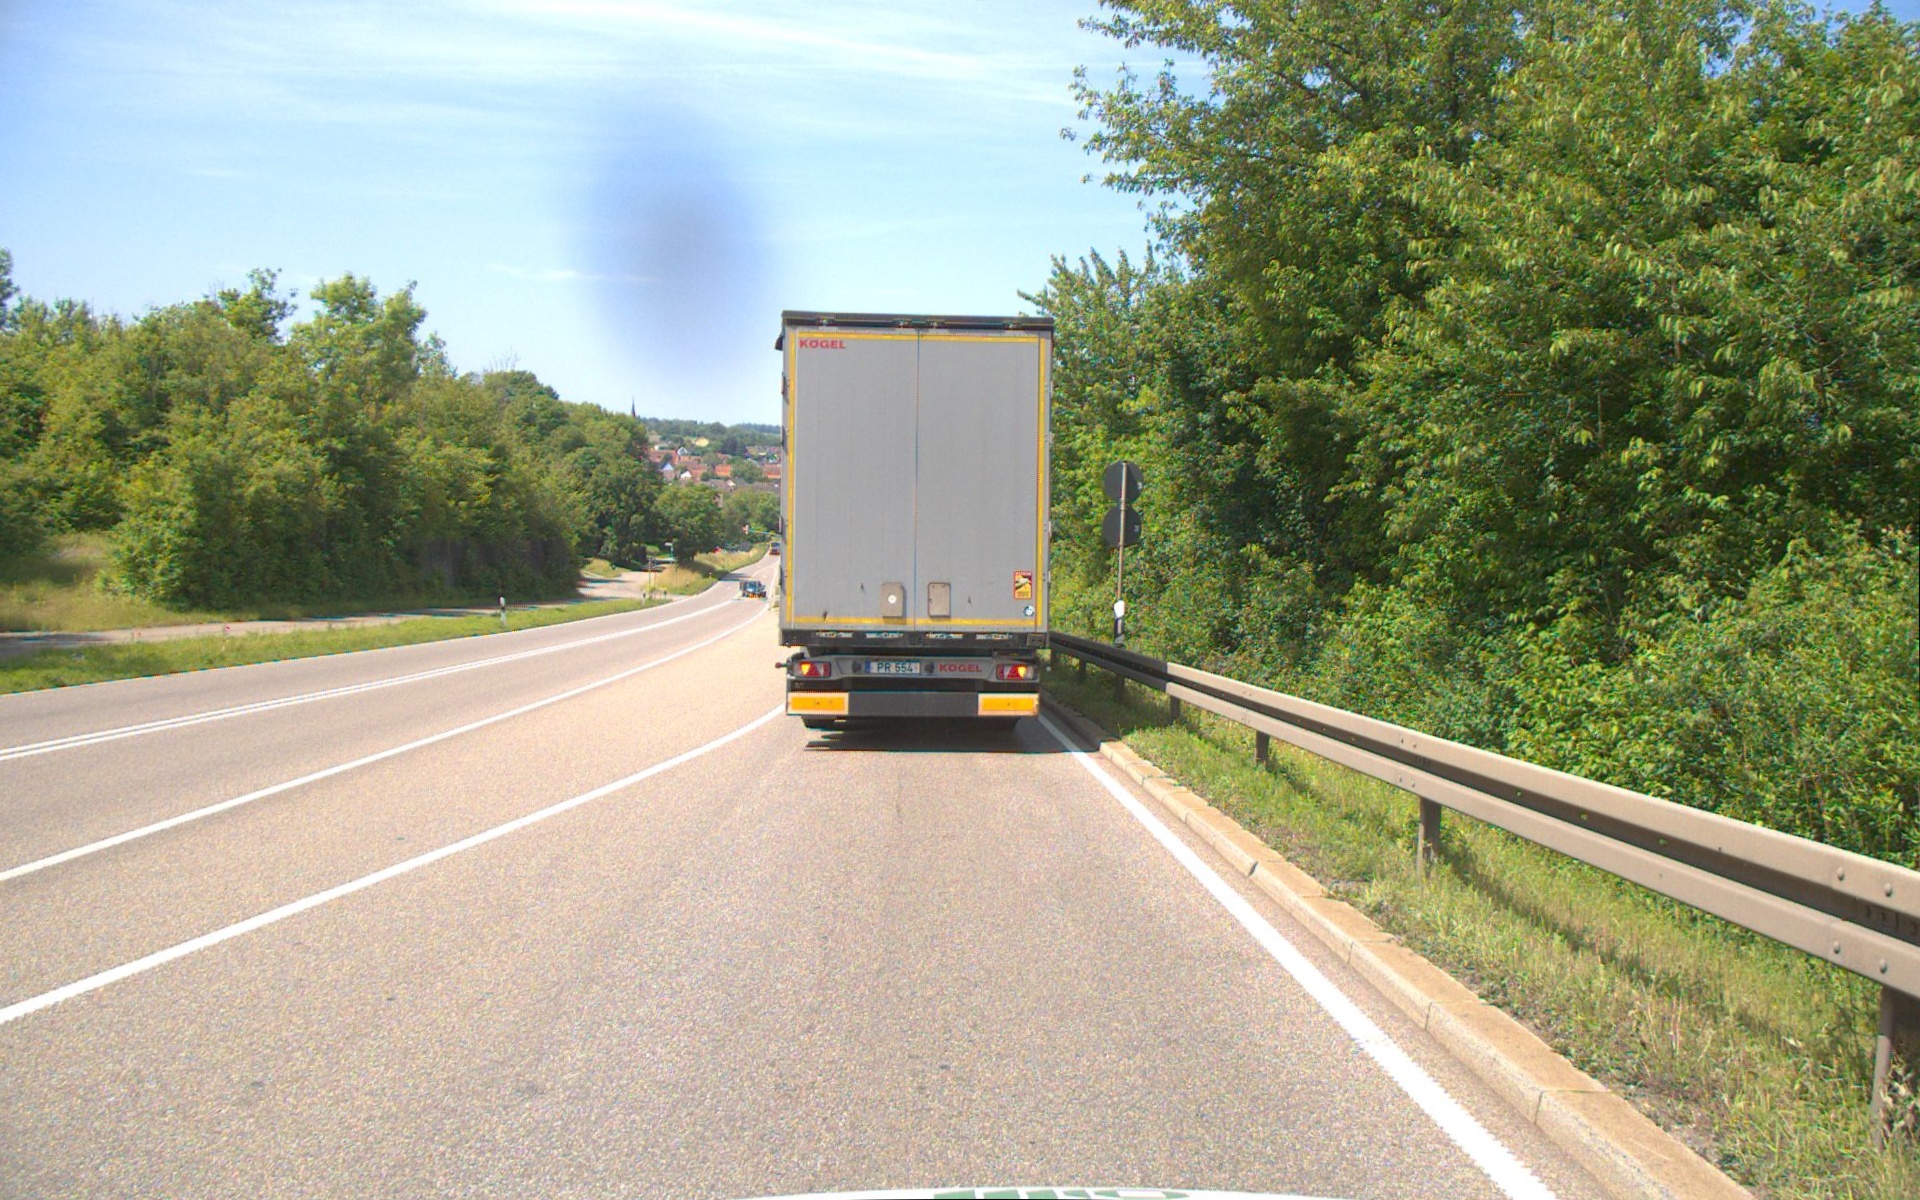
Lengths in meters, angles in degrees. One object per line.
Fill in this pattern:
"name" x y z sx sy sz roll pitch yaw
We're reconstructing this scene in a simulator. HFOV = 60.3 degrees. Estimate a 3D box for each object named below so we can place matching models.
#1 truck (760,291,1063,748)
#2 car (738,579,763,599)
"truck" -0.523 -0.775 20.896 2.701 4.100 11.922 0 1 -1
"car" -19.194 -1.013 151.530 1.776 1.825 3.825 1 0 -16
